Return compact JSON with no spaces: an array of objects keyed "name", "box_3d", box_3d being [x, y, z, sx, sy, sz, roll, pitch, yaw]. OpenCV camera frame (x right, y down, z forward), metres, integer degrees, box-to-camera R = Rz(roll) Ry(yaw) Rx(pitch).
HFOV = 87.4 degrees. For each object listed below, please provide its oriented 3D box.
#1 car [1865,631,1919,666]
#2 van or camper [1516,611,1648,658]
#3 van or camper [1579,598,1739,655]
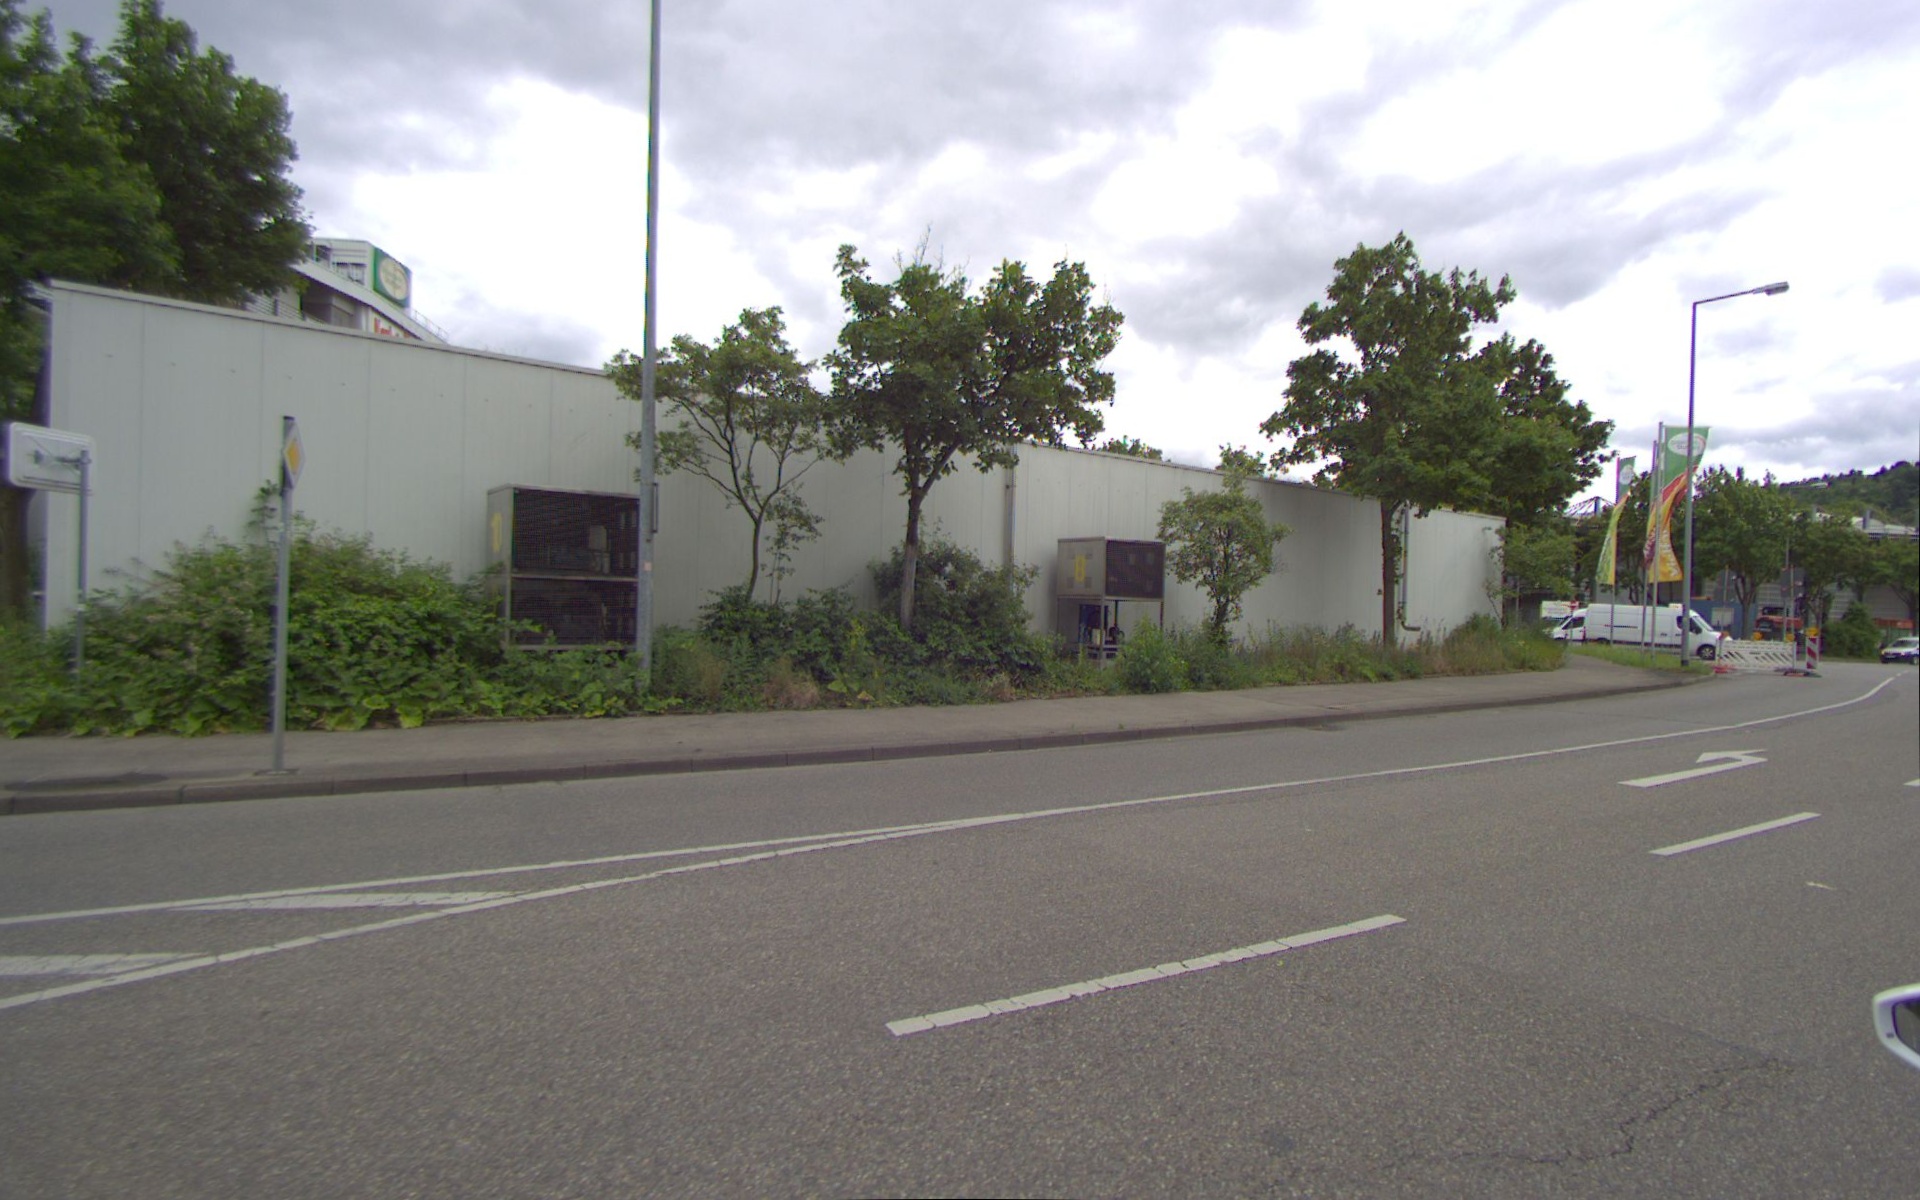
[{"name":"car","box_3d":[61.061,3.158,64.832,4.063,2.040,1.993,2,1,-16]},{"name":"van or camper","box_3d":[37.071,2.029,60.098,6.536,2.357,2.011,3,0,31]},{"name":"van or camper","box_3d":[34.141,1.253,49.219,2.378,2.276,5.931,3,2,-41]}]
